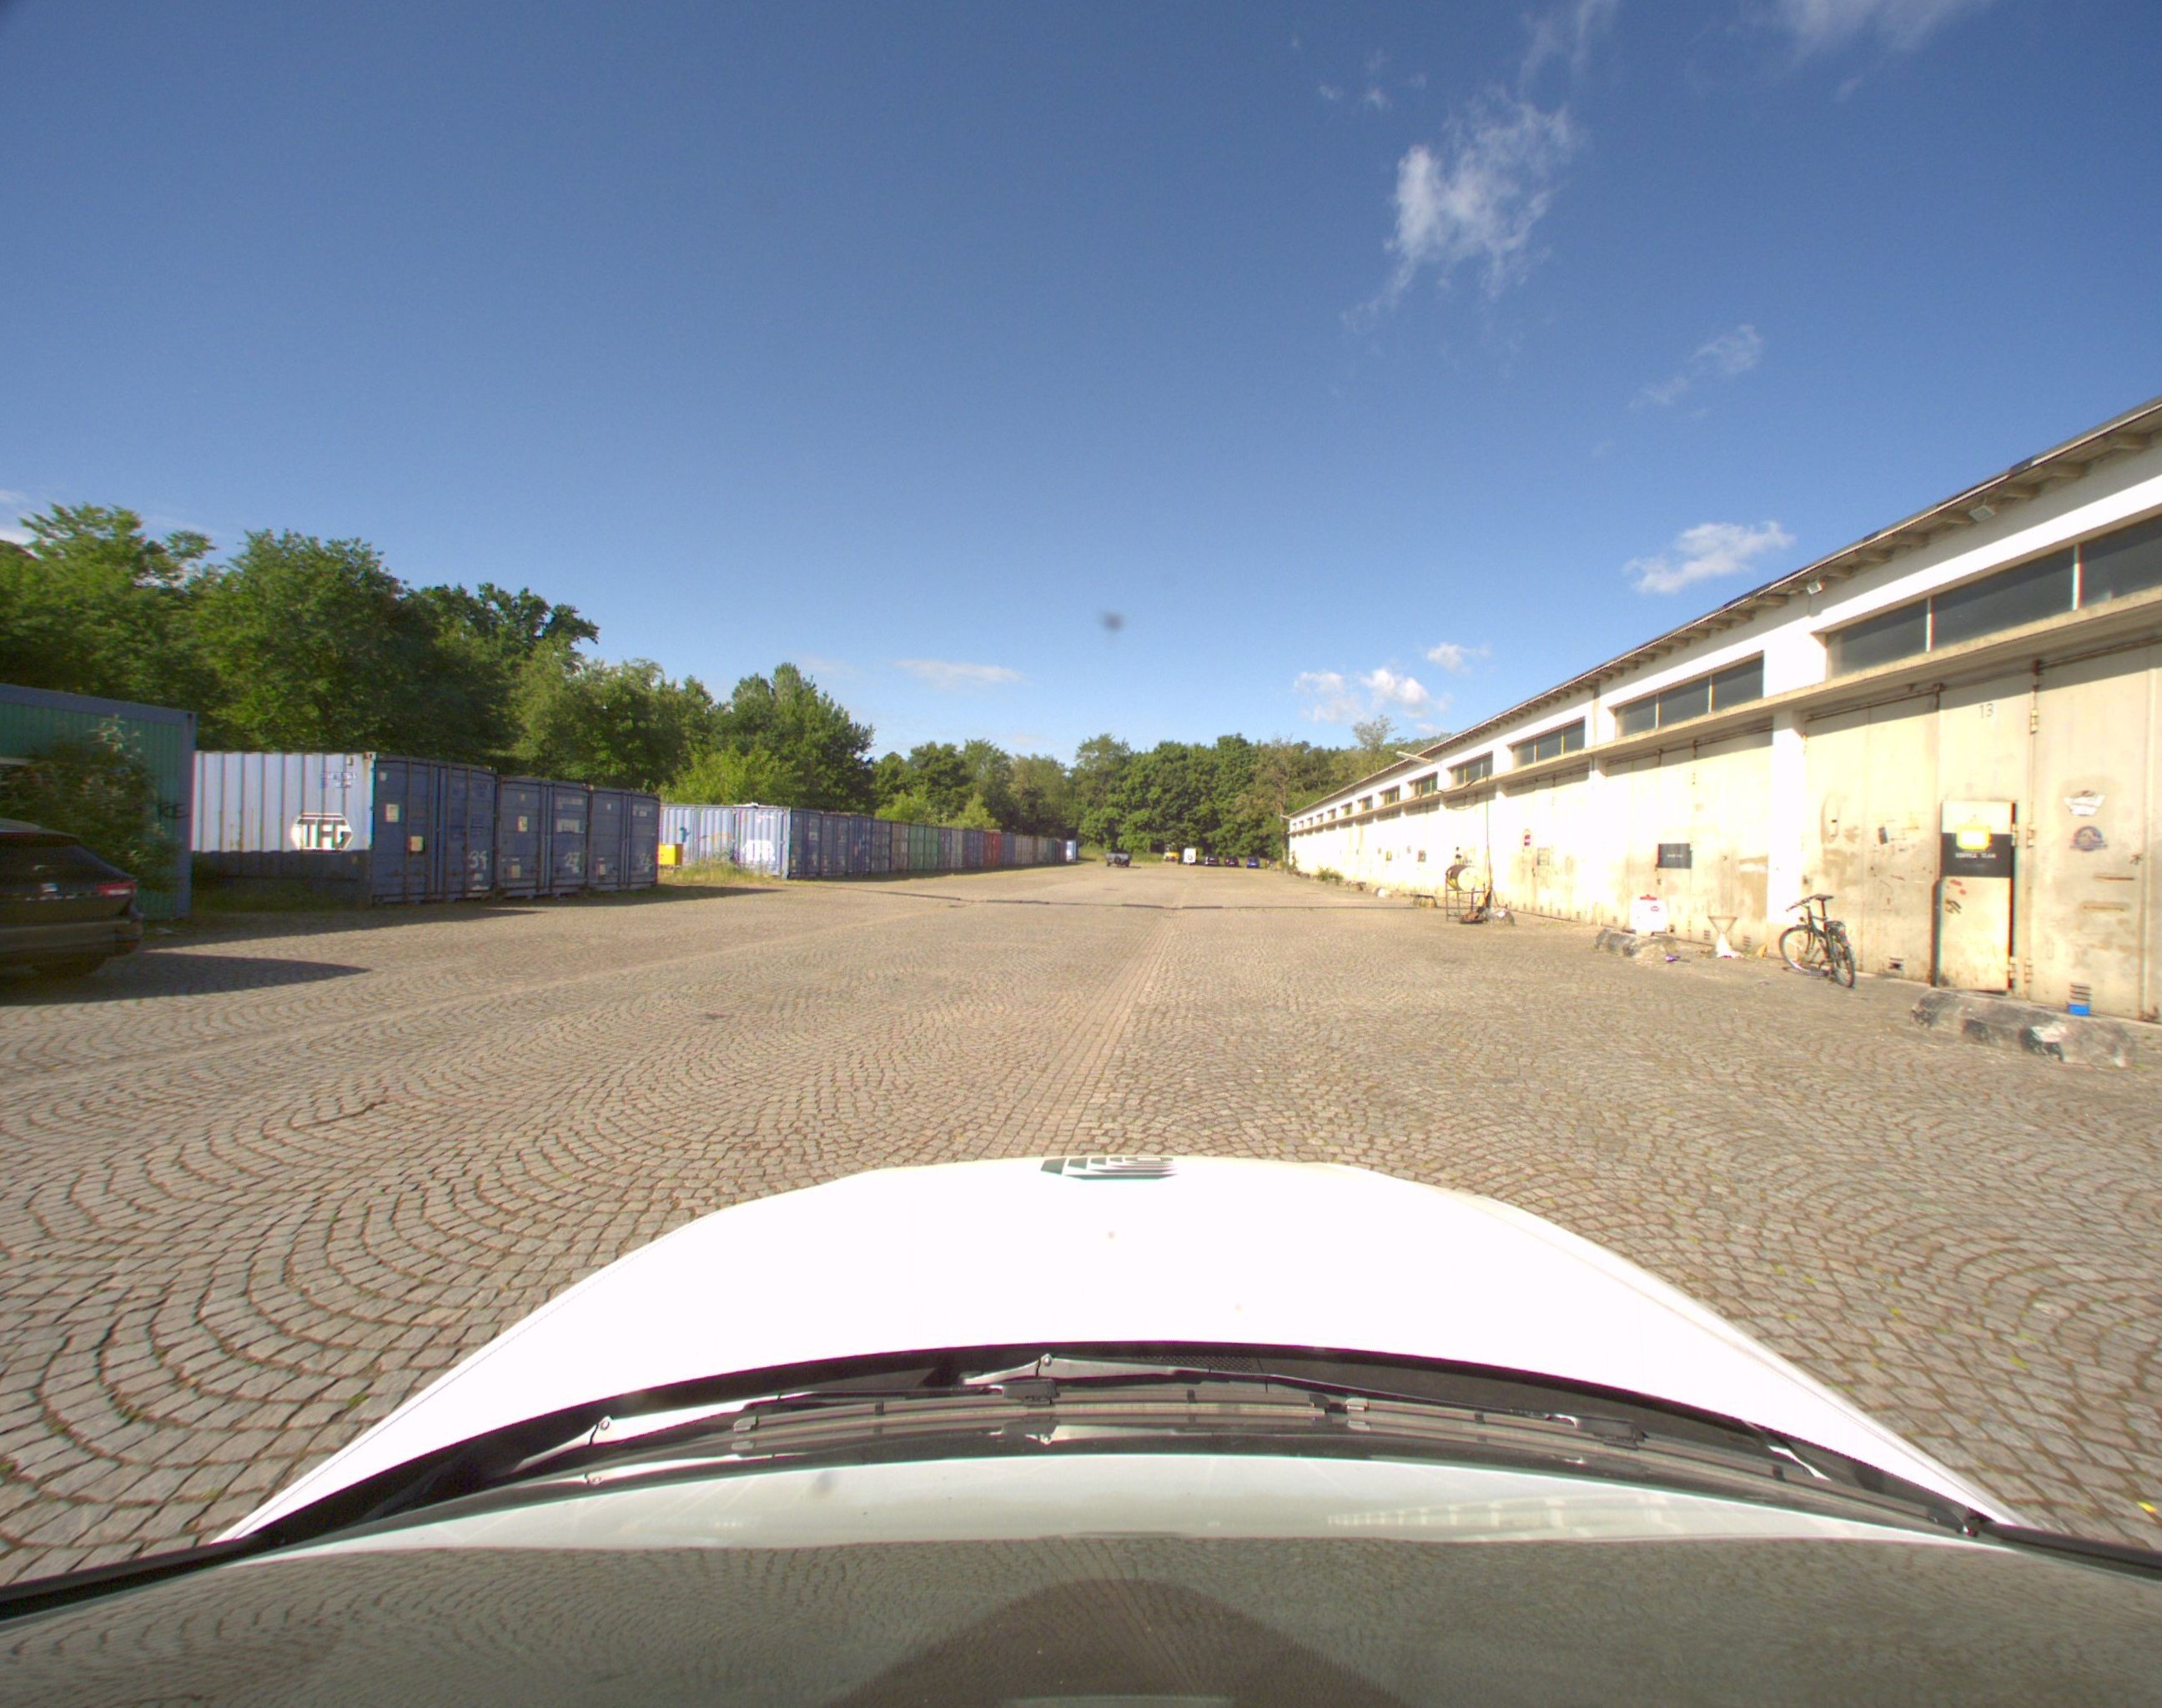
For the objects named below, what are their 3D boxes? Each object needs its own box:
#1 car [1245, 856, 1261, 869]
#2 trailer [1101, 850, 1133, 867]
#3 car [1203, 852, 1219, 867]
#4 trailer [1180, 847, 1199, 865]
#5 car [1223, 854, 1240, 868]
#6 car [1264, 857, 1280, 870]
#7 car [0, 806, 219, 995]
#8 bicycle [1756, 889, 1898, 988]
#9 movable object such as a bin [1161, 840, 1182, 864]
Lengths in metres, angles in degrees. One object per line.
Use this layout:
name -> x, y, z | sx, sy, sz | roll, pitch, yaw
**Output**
car -> 21.500, 1.023, 101.575 | 1.732, 1.436, 4.199 | 4, 2, 14
trailer -> 3.847, 0.434, 85.846 | 2.691, 1.465, 6.260 | 4, 1, 7
car -> 16.287, 0.668, 102.008 | 1.853, 1.589, 4.306 | 4, 2, 8
trailer -> 13.999, 0.222, 104.744 | 2.181, 2.094, 5.765 | 4, 2, 8
car -> 18.788, 0.863, 102.023 | 1.853, 1.470, 4.306 | 4, 2, 8
car -> 24.126, 1.122, 102.627 | 1.731, 1.436, 4.200 | 4, 2, 15
car -> -10.373, 0.261, 6.918 | 4.230, 1.449, 1.935 | 3, 0, 6
bicycle -> 9.373, 1.014, 10.326 | 0.659, 1.068, 1.833 | 3, 0, 20
movable object such as a bin -> 11.763, -0.270, 105.665 | 2.293, 2.896, 5.767 | 4, 2, 9
